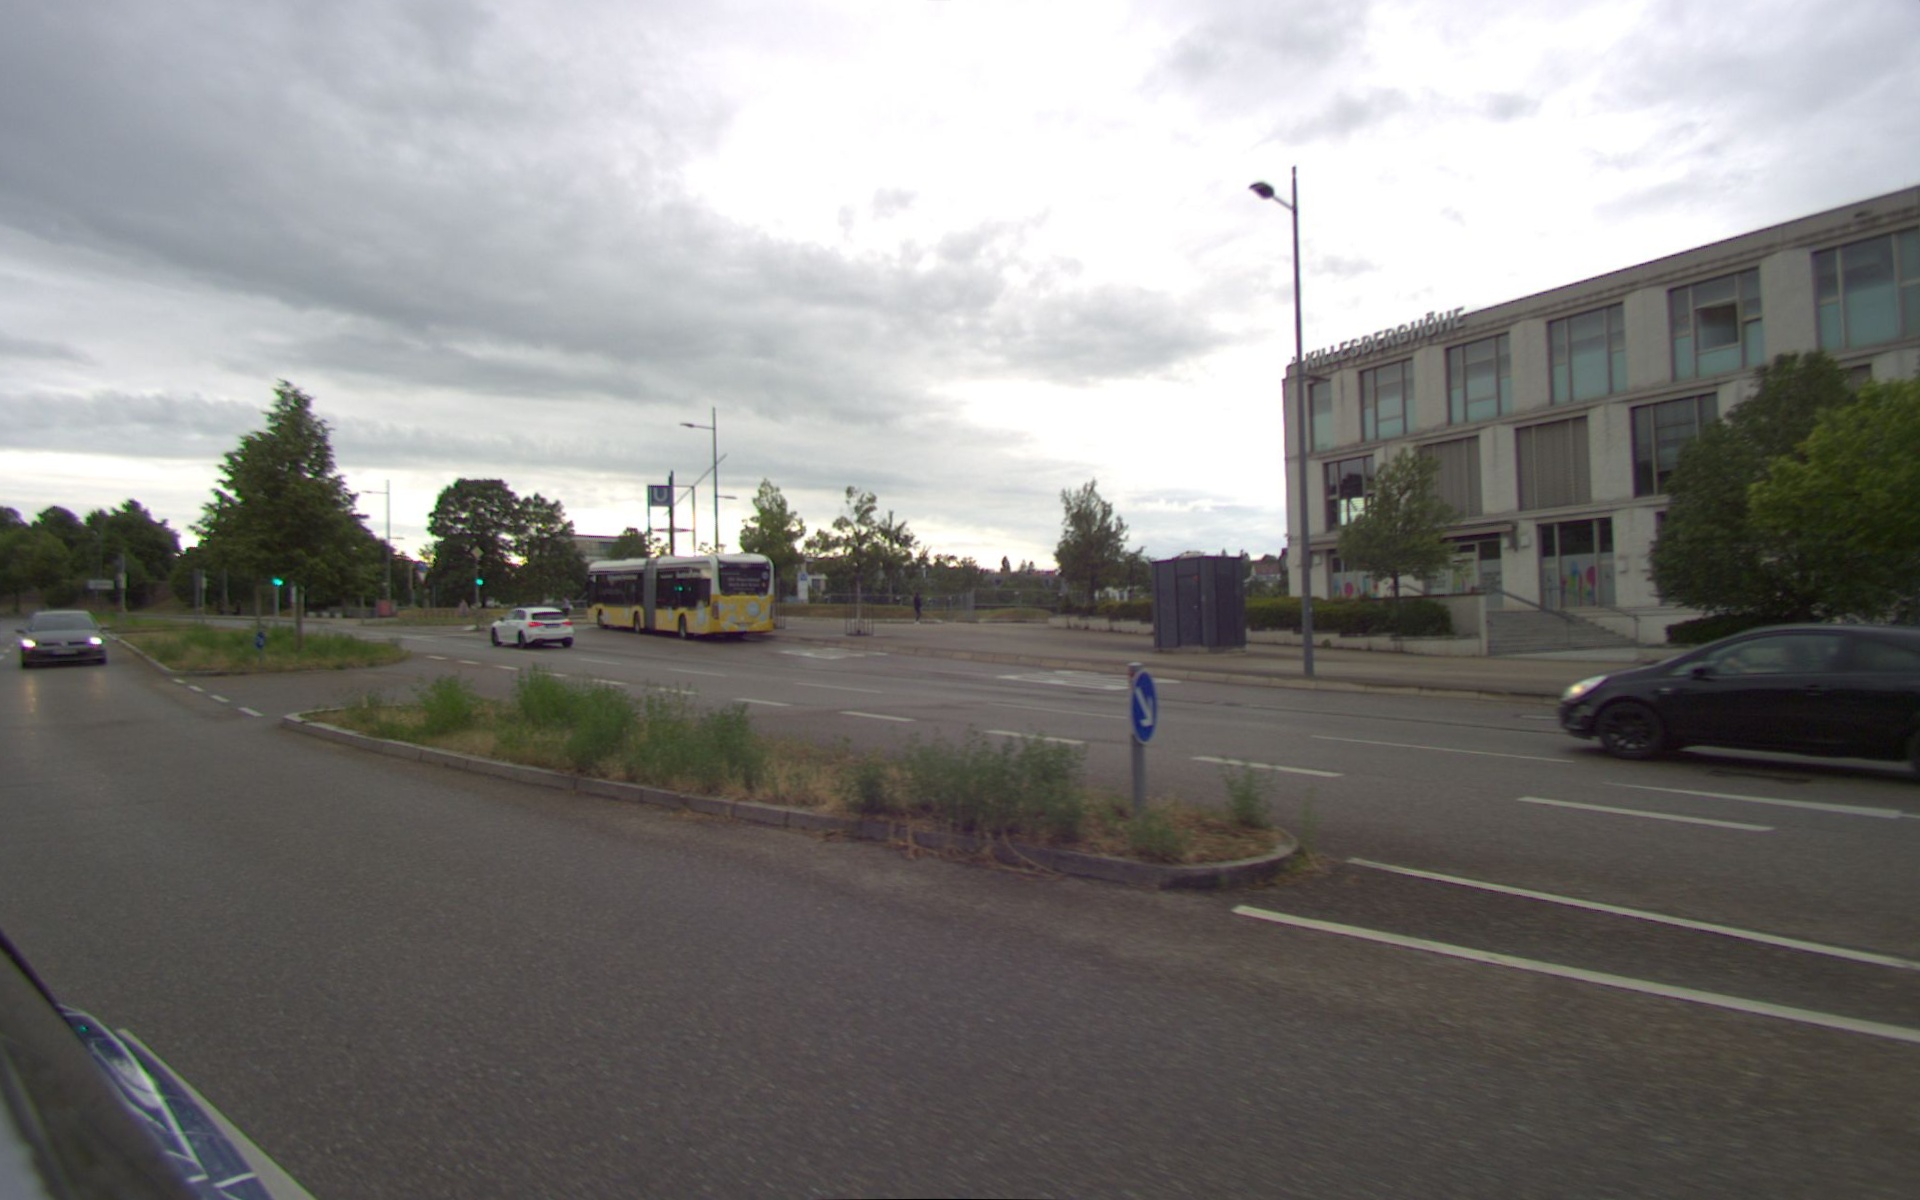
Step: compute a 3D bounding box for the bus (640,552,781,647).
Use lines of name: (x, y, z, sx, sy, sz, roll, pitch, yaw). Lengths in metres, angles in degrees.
bus: (-10.397, -0.104, 41.466, 2.784, 3.498, 8.252, -2, 1, -35)

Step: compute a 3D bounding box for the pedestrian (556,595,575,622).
pedestrian: (-24.129, 0.503, 61.955, 0.672, 1.606, 0.812, -3, -2, 35)

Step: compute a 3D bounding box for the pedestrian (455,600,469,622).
pedestrian: (-37.145, 0.810, 75.486, 0.813, 1.606, 0.607, -4, -2, 43)

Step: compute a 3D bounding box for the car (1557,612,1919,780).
car: (8.514, 0.874, 10.266, 1.824, 1.473, 3.872, 2, -2, -42)

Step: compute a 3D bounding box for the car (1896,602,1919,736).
car: (12.588, 0.794, 11.314, 1.594, 1.519, 2.976, -2, 0, -42)

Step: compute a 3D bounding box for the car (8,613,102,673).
car: (-24.683, 1.133, 27.615, 1.784, 1.440, 4.202, -1, 0, -42)

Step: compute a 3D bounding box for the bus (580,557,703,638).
bus: (-15.630, -0.186, 49.054, 2.784, 3.498, 10.000, -2, 1, -35)

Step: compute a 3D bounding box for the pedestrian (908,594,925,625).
pedestrian: (-2.250, 0.494, 52.000, 0.665, 1.541, 0.484, -4, -2, 43)

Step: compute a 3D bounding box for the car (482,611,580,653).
car: (-15.731, 1.129, 37.009, 1.969, 1.429, 4.519, 0, 0, -42)
